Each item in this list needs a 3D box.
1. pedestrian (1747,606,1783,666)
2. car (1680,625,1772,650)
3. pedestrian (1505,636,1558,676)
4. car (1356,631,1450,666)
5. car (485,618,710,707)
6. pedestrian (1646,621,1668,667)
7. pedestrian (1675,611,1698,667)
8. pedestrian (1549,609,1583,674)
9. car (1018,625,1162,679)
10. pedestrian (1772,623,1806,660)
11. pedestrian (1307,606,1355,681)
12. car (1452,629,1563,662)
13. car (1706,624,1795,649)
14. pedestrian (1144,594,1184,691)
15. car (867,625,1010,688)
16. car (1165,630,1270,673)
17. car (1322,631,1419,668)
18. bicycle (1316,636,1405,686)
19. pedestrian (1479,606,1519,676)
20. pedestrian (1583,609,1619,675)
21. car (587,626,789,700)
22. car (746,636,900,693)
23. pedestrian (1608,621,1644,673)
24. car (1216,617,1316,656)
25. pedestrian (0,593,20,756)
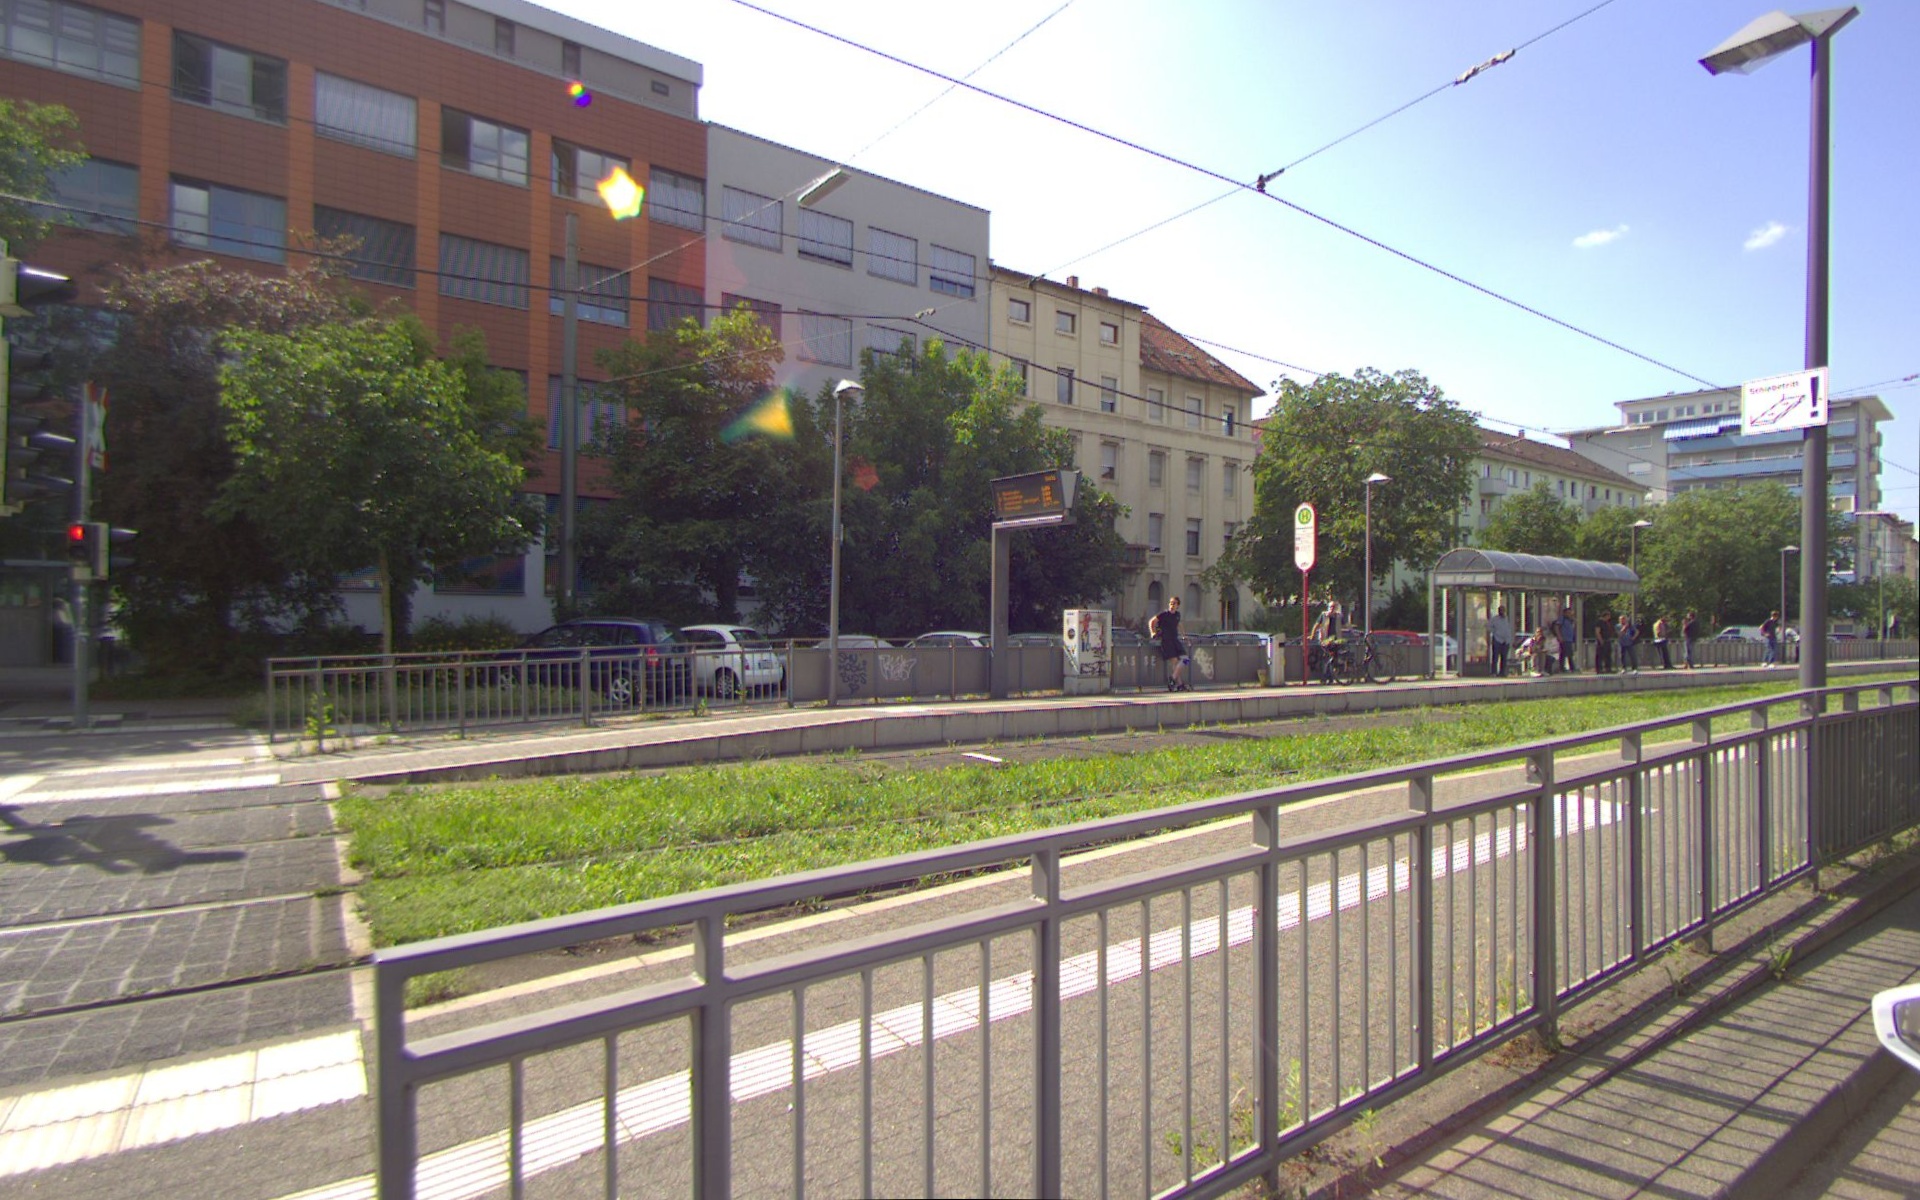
[{"bbox_3d":[27.775,1.243,34.657,0.655,2.040,0.797,1,-1,-32],"label":"pedestrian"},{"bbox_3d":[44.189,2.139,58.025,3.919,1.404,1.640,0,-1,10],"label":"car"},{"bbox_3d":[14.759,1.435,25.944,0.789,1.001,0.919,3,-3,-33],"label":"pedestrian"},{"bbox_3d":[17.657,1.910,40.134,3.180,1.326,1.457,0,-1,9],"label":"car"},{"bbox_3d":[-7.353,1.220,20.466,4.050,1.662,1.726,0,-1,16],"label":"car"},{"bbox_3d":[22.602,1.430,32.570,0.461,1.471,0.483,2,-2,-45],"label":"pedestrian"},{"bbox_3d":[22.907,1.236,31.677,0.461,1.735,0.483,2,-2,-45],"label":"pedestrian"},{"bbox_3d":[16.657,1.125,27.628,0.550,1.759,0.590,1,-2,-31],"label":"pedestrian"},{"bbox_3d":[3.746,1.468,28.830,3.919,1.476,1.692,-1,-2,15],"label":"car"},{"bbox_3d":[33.399,1.678,40.458,1.017,1.456,0.700,-2,-2,40],"label":"pedestrian"},{"bbox_3d":[7.958,0.935,21.573,0.677,1.590,0.661,1,-2,-27],"label":"pedestrian"},{"bbox_3d":[23.773,1.966,43.721,3.919,1.385,1.717,0,-2,14],"label":"car"},{"bbox_3d":[48.206,2.211,61.372,3.922,1.466,1.728,0,-1,21],"label":"car"},{"bbox_3d":[3.753,0.780,18.516,0.654,1.749,0.715,0,-1,7],"label":"pedestrian"},{"bbox_3d":[-0.536,1.408,25.723,3.321,1.525,1.545,0,-1,17],"label":"car"},{"bbox_3d":[8.442,1.686,33.123,3.181,1.326,1.457,0,-1,7],"label":"car"},{"bbox_3d":[15.546,1.853,38.150,3.180,1.326,1.457,0,-1,9],"label":"car"},{"bbox_3d":[8.305,1.253,20.832,1.747,0.987,0.684,1,-3,-26],"label":"bicycle"},{"bbox_3d":[13.467,1.026,25.096,0.650,1.714,0.651,1,-2,-35],"label":"pedestrian"},{"bbox_3d":[17.745,1.149,27.804,0.630,1.789,0.602,1,-1,-26],"label":"pedestrian"},{"bbox_3d":[-6.050,1.359,22.452,4.050,1.519,1.726,0,-1,16],"label":"car"},{"bbox_3d":[-3.260,1.523,24.139,3.321,1.252,1.545,0,-1,16],"label":"car"},{"bbox_3d":[18.463,1.296,27.840,0.552,1.444,0.656,0,-2,2],"label":"pedestrian"},{"bbox_3d":[10.643,1.261,35.127,3.180,1.326,1.457,0,-1,9],"label":"car"},{"bbox_3d":[-11.208,0.837,11.198,0.996,1.798,0.863,1,-3,-41],"label":"pedestrian"}]
